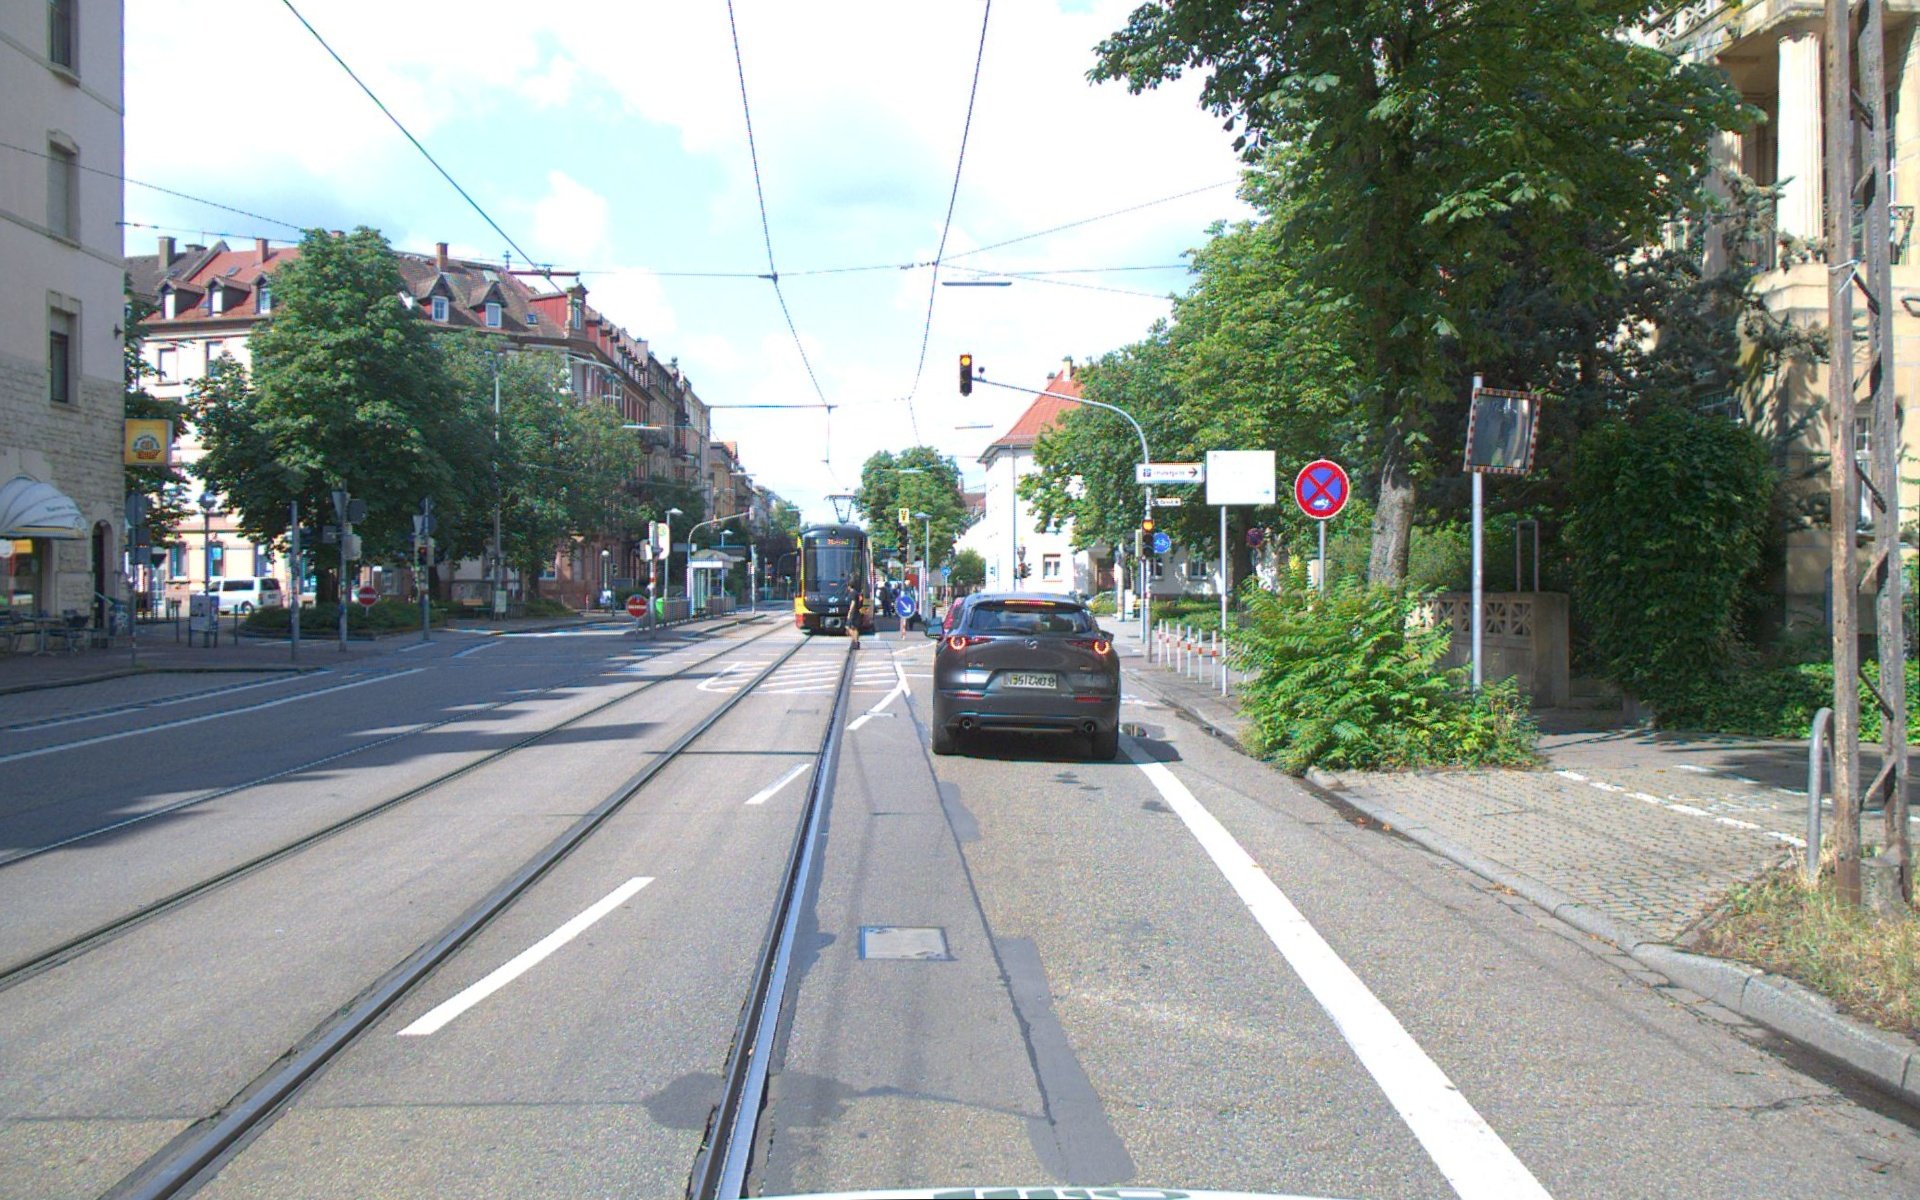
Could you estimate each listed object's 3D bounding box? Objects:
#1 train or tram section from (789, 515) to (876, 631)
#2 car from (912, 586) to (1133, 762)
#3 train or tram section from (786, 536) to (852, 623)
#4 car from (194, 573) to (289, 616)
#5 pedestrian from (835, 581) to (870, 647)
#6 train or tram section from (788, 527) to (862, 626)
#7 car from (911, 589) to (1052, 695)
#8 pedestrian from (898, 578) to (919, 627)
[{"bbox_3d":[-4.401,-0.845,55.882,2.601,3.589,8.484,-1,0,-6],"label":"train or tram section"},{"bbox_3d":[0.504,0.649,16.929,1.754,1.538,4.347,1,1,-4],"label":"car"},{"bbox_3d":[-6.283,-0.865,72.777,2.601,3.589,8.484,-1,0,-6],"label":"train or tram section"},{"bbox_3d":[-38.053,-0.295,87.662,4.033,2.048,2.002,-3,0,6],"label":"car"},{"bbox_3d":[-2.662,0.346,40.952,0.858,1.633,0.631,0,0,-6],"label":"pedestrian"},{"bbox_3d":[-5.340,-0.860,64.337,2.601,3.589,8.484,-1,0,-6],"label":"train or tram section"},{"bbox_3d":[0.253,0.602,26.968,1.750,1.518,4.877,0,1,-6],"label":"car"},{"bbox_3d":[-1.738,0.072,55.862,0.654,1.633,0.699,0,0,-5],"label":"pedestrian"}]
